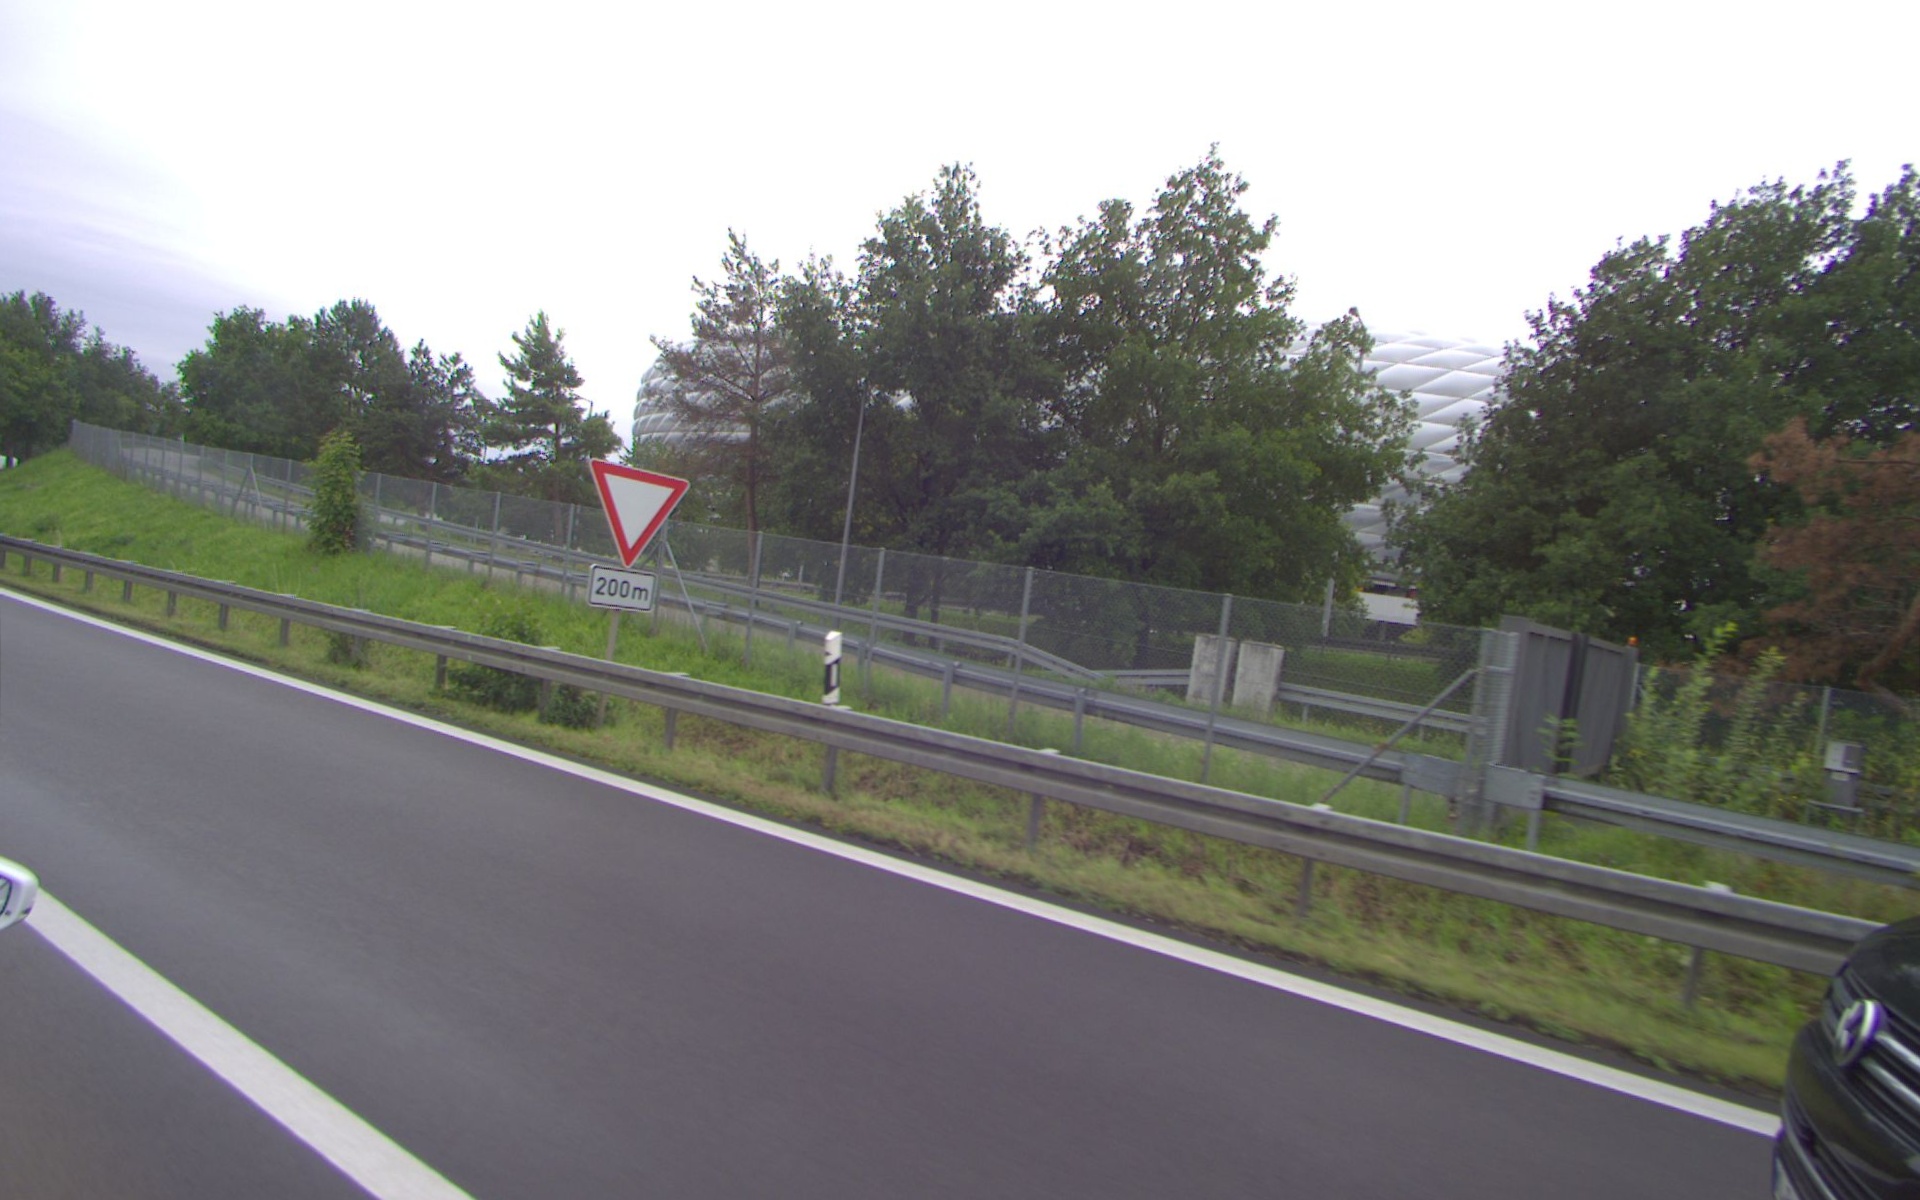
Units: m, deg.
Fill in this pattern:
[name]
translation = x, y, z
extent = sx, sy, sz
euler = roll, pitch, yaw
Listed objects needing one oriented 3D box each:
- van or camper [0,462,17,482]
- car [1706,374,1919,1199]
[van or camper]
translation = -109.808, -14.756, 114.554
extent = 1.975, 2.038, 4.556
euler = 7, 0, -25
[car]
translation = 4.636, 0.967, 1.043
extent = 5.798, 2.290, 2.115
euler = 7, -2, 31
